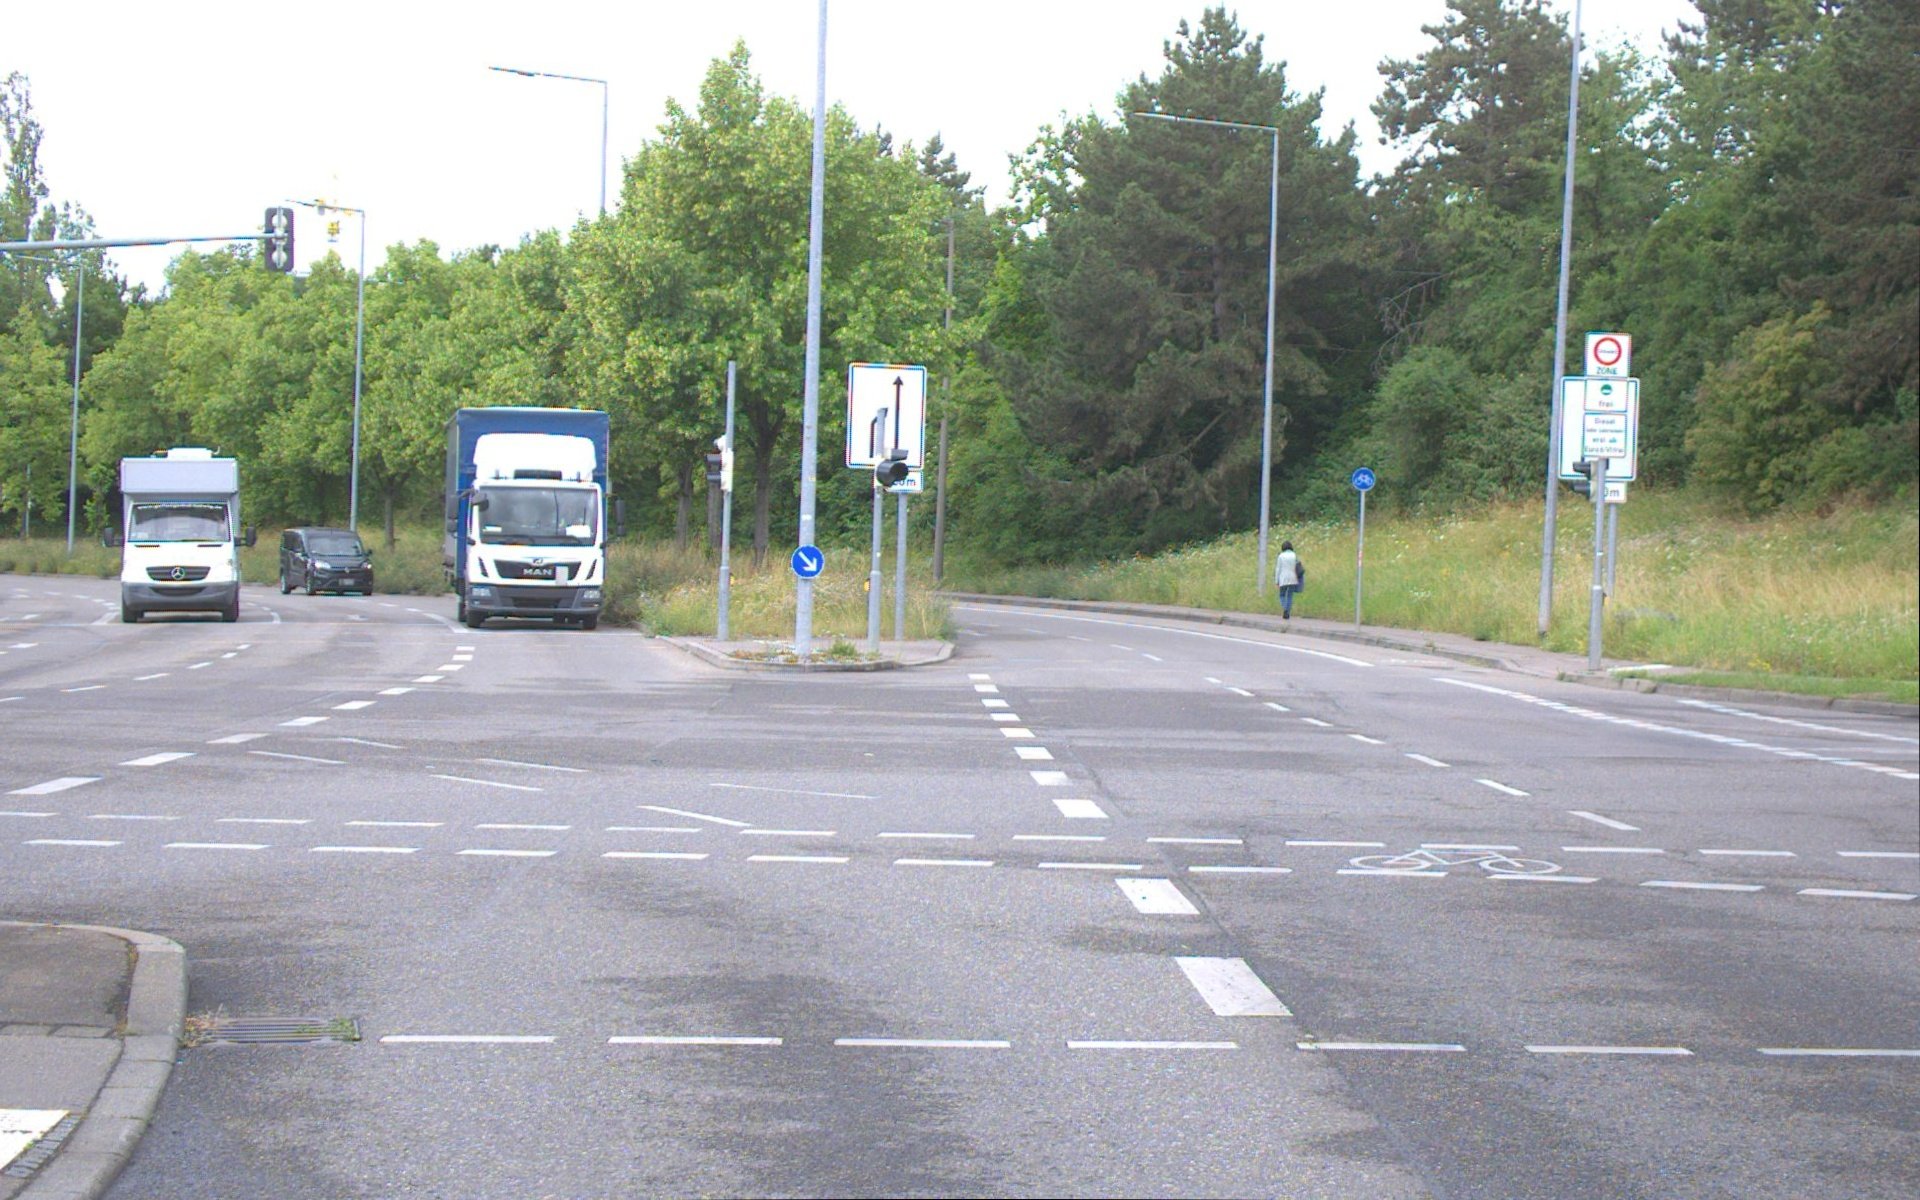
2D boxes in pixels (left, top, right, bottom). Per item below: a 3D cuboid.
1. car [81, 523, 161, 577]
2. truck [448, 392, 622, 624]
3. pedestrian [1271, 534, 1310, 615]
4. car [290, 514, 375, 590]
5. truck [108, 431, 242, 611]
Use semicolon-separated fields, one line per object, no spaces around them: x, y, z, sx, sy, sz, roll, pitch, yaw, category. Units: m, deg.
-28.576;-1.720;117.022;1.993;1.777;4.001;0;1;-23;car
-7.639;-1.598;60.951;2.778;3.791;8.391;1;1;-9;truck
7.049;-0.551;73.338;0.739;1.711;0.625;1;1;-1;pedestrian
-17.156;-1.338;93.859;1.993;2.007;4.610;0;1;-14;car
-14.092;-1.402;61.937;2.104;3.000;6.275;-3;1;-12;truck
